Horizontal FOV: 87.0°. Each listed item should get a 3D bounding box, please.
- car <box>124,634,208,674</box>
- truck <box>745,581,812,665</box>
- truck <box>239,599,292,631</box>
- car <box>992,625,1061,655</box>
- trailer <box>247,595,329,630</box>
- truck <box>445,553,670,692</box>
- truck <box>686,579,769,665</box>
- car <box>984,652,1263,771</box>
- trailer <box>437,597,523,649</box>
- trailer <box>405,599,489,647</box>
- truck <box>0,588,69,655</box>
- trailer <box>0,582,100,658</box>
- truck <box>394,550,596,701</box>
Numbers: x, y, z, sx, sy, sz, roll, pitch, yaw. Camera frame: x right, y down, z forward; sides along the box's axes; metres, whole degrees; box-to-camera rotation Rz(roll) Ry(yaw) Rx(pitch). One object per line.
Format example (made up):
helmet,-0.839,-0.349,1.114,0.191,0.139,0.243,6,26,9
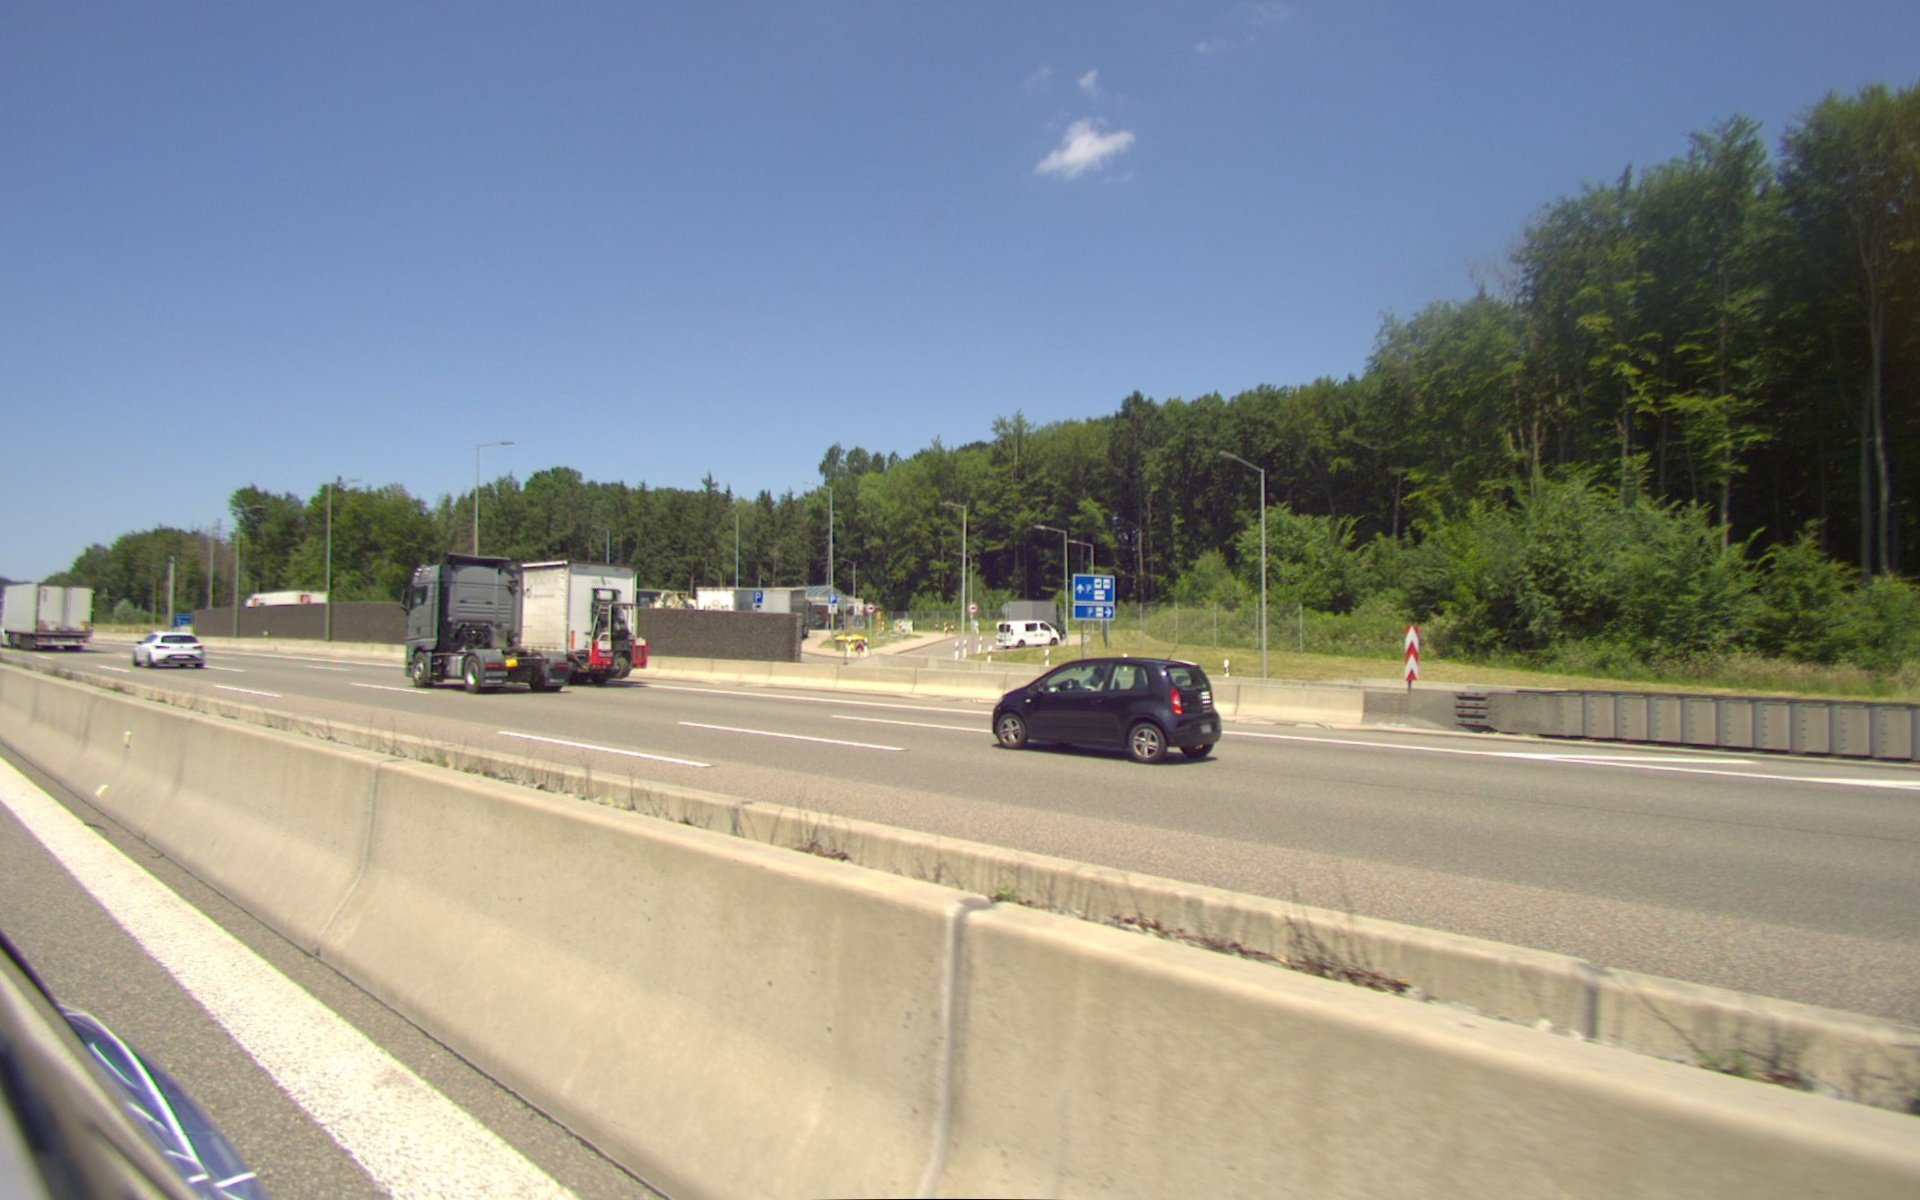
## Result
car,-31.963,2.122,40.710,4.457,1.518,1.705,-1,-3,40
truck,-13.526,1.862,76.934,3.175,5.656,16.724,0,-2,-4
truck,-70.860,1.611,103.219,6.200,3.148,2.896,-1,-3,41
car,4.750,2.846,72.000,4.663,2.029,2.091,2,-2,-35
trailer,-65.337,1.317,98.128,14.603,3.148,2.940,-1,-3,41
truck,-14.335,0.811,35.377,10.592,4.229,2.805,-1,-3,42
truck,-16.984,1.750,75.458,3.399,5.656,16.724,0,-2,-4
car,2.386,1.575,15.232,3.812,1.498,1.735,-1,-4,41
trailer,-50.383,2.489,106.889,3.175,5.111,14.579,0,-2,-4
trailer,-58.058,2.698,115.067,3.083,5.111,14.579,0,-2,-4
truck,-62.523,1.487,67.868,6.945,4.168,3.015,-1,-5,41
trailer,-57.103,1.292,63.145,14.460,4.257,2.991,-1,-4,41
truck,-13.510,0.765,29.137,7.014,3.870,2.551,-1,-4,41
